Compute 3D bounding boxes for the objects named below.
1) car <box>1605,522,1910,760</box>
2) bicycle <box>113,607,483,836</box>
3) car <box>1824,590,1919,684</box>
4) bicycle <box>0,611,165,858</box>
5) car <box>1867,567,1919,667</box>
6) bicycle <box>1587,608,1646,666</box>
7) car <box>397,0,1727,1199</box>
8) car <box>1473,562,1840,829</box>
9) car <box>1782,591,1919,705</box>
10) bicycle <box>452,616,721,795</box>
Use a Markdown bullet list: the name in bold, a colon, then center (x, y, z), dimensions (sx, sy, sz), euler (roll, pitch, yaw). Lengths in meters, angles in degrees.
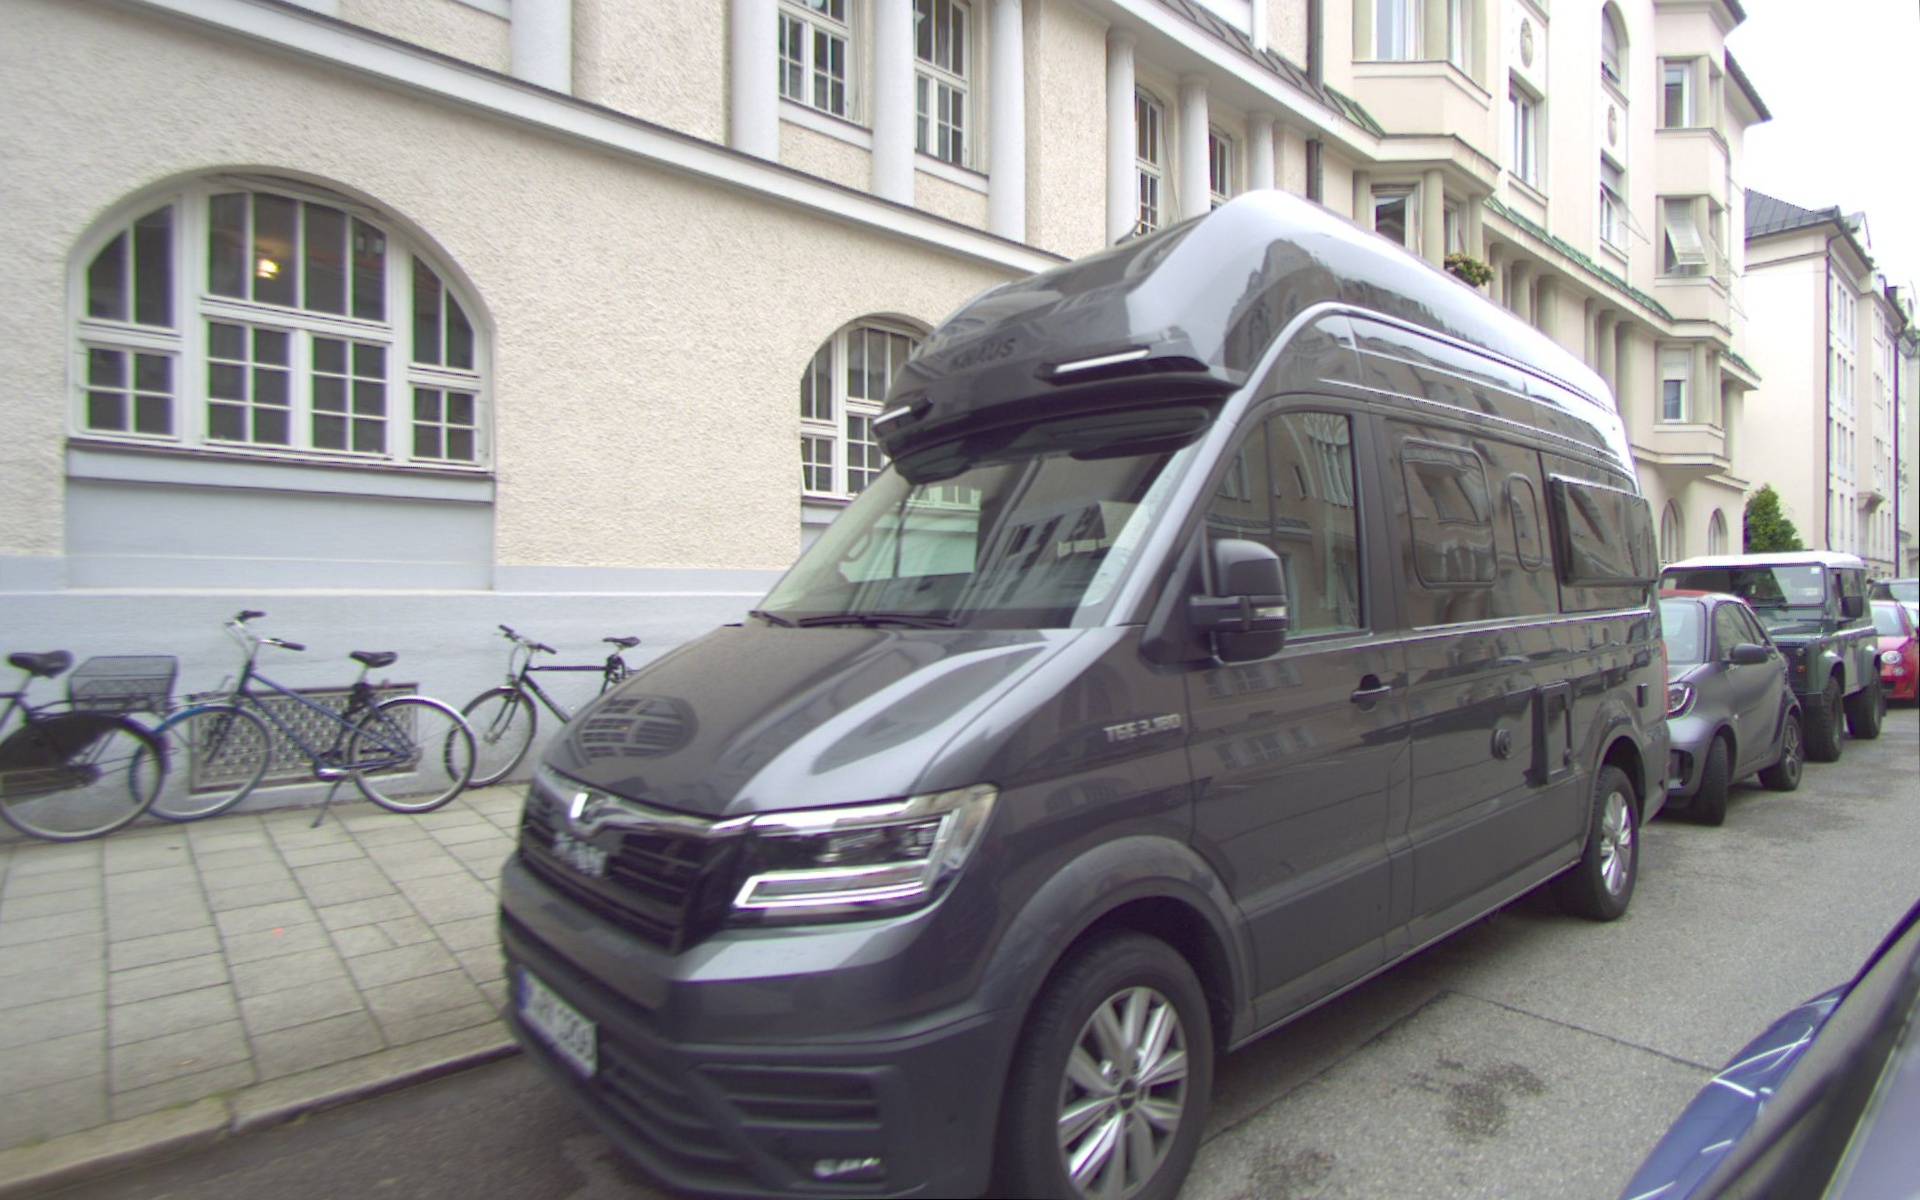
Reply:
- **car**: center (8.593, 0.338, 10.788), dimensions (4.000, 2.065, 1.798), euler (-1, 0, -41)
- **bicycle**: center (-3.802, 0.638, 5.953), dimensions (1.753, 1.165, 0.483), euler (-1, 0, -32)
- **car**: center (16.270, 0.584, 17.553), dimensions (3.612, 1.490, 1.494), euler (0, -1, -42)
- **bicycle**: center (-4.998, 0.663, 4.913), dimensions (1.758, 1.164, 0.482), euler (-1, 3, -43)
- **car**: center (20.747, 0.318, 21.369), dimensions (4.583, 1.961, 1.878), euler (0, -1, -42)
- **bicycle**: center (13.658, 0.744, 21.037), dimensions (1.933, 1.131, 0.493), euler (-1, 0, -41)
- **car**: center (1.185, -0.073, 4.442), dimensions (6.027, 2.997, 2.258), euler (-2, 0, -41)
- **car**: center (5.352, 0.574, 7.717), dimensions (2.763, 1.646, 1.546), euler (-1, 0, -38)
- **car**: center (13.337, 0.624, 14.822), dimensions (3.444, 1.490, 1.494), euler (0, -1, -42)
- **bicycle**: center (-2.588, 0.685, 7.163), dimensions (1.757, 1.082, 0.389), euler (-1, 2, -41)
